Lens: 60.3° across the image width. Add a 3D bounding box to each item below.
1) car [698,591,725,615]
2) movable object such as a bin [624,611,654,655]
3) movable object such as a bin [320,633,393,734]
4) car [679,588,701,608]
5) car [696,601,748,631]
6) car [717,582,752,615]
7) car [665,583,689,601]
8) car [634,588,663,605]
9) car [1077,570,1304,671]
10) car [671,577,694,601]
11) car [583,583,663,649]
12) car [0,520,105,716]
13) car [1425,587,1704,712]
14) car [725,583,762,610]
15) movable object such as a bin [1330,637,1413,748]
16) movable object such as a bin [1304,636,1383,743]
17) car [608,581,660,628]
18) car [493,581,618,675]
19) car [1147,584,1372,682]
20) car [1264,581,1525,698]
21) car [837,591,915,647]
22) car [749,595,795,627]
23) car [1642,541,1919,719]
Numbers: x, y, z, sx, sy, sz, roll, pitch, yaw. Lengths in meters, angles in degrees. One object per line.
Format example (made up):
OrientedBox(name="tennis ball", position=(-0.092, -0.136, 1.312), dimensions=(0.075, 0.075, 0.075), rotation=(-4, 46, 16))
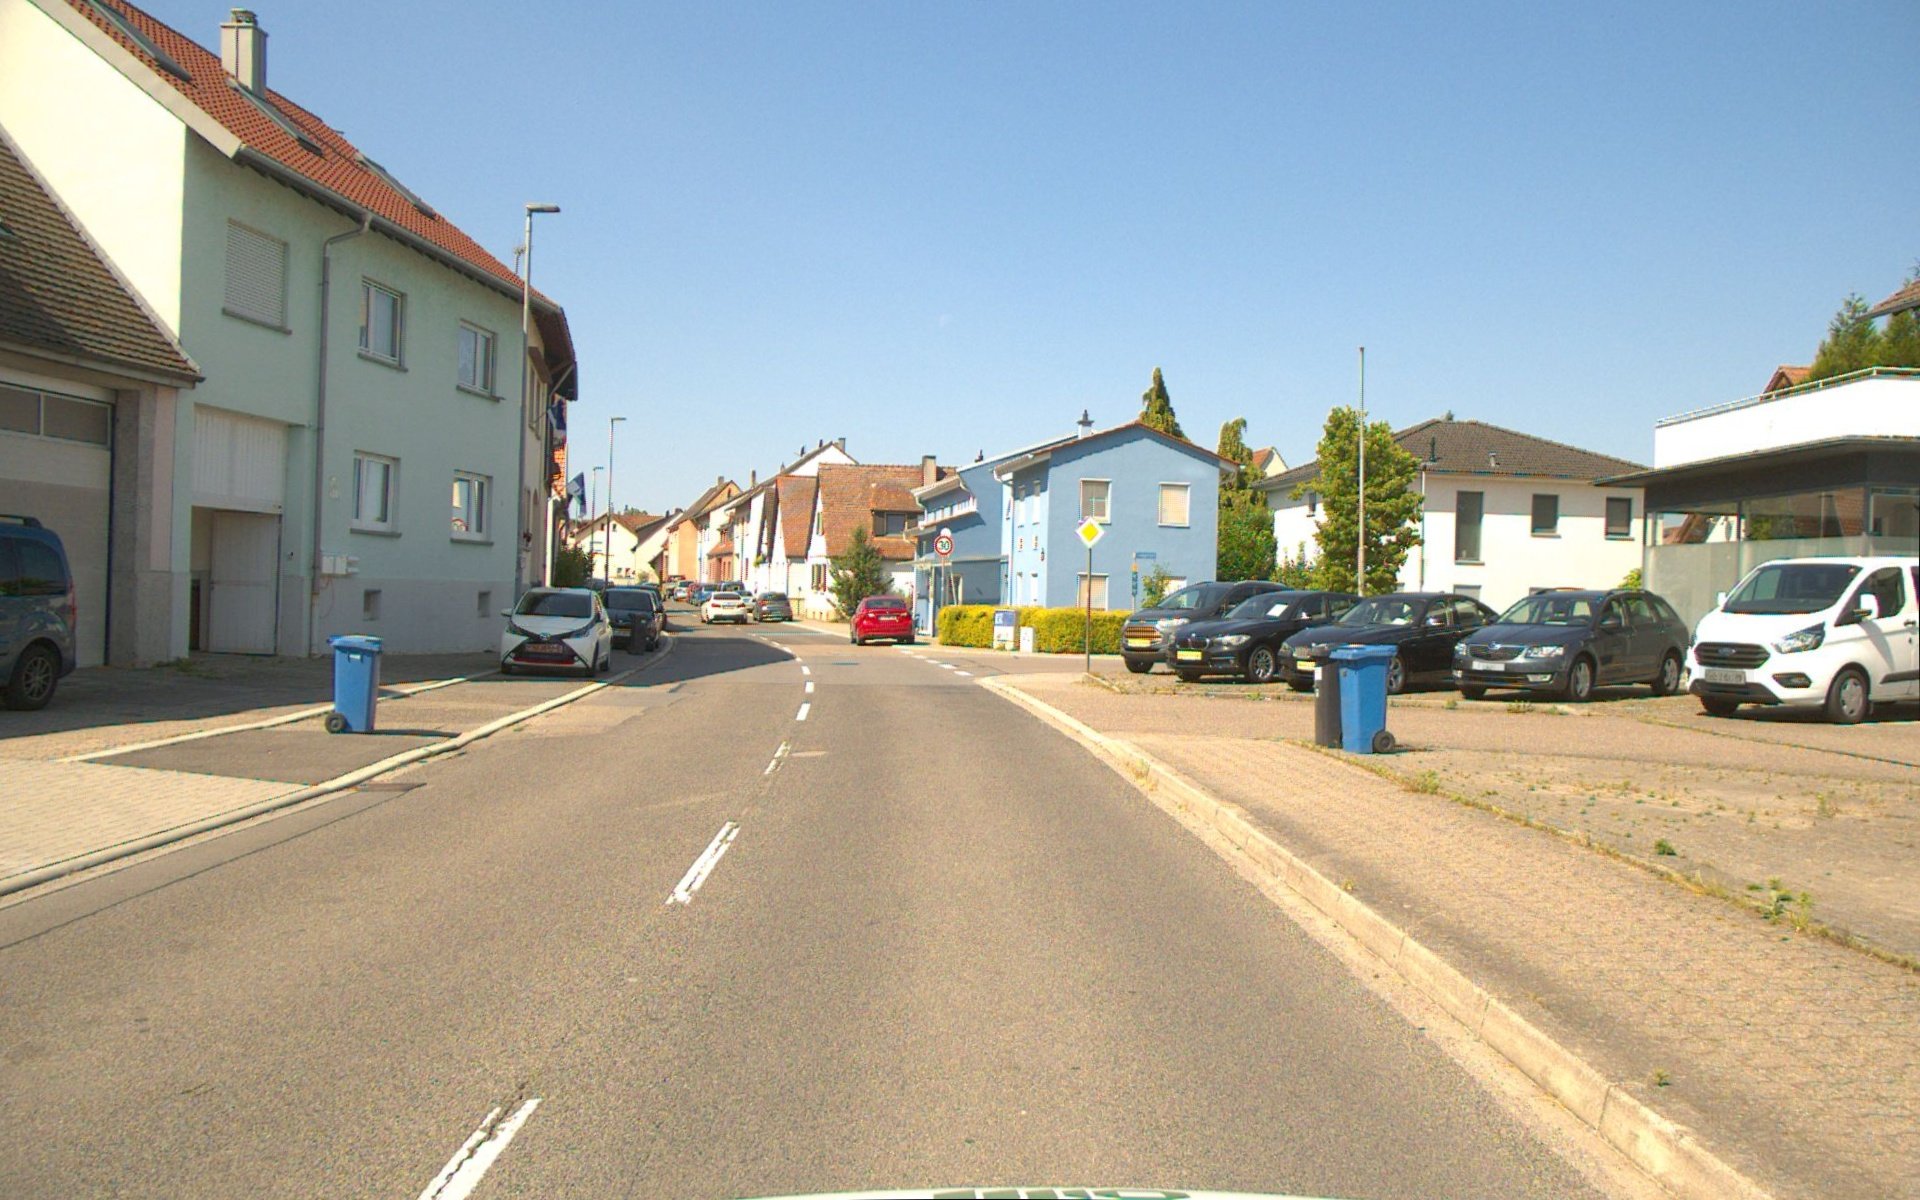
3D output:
OrientedBox(name="car", position=(-17.038, 0.191, 113.368), dimensions=(1.397, 1.541, 3.291), rotation=(2, 0, -15))
OrientedBox(name="movable object such as a bin", position=(-7.386, 0.753, 37.995), dimensions=(0.542, 0.944, 0.822), rotation=(6, -1, -14))
OrientedBox(name="movable object such as a bin", position=(-5.990, 0.822, 16.429), dimensions=(0.547, 0.953, 0.513), rotation=(3, -1, -11))
OrientedBox(name="car", position=(-21.325, -0.158, 130.627), dimensions=(1.397, 1.541, 3.291), rotation=(2, 0, -15))
OrientedBox(name="car", position=(-10.967, 0.729, 76.089), dimensions=(1.960, 1.311, 3.985), rotation=(1, 0, -15))
OrientedBox(name="car", position=(-14.074, -0.117, 103.147), dimensions=(1.622, 1.943, 3.611), rotation=(2, 0, -15))
OrientedBox(name="car", position=(-23.754, -0.695, 138.720), dimensions=(1.737, 1.458, 3.437), rotation=(1, 0, -14))
OrientedBox(name="car", position=(-24.515, -0.279, 130.139), dimensions=(1.960, 1.311, 3.789), rotation=(1, 0, -15))
OrientedBox(name="car", position=(4.170, 0.348, 29.658), dimensions=(4.076, 1.682, 1.804), rotation=(1, 0, -41))
OrientedBox(name="car", position=(-24.185, -0.961, 144.044), dimensions=(1.737, 2.039, 3.437), rotation=(1, 0, -14))
OrientedBox(name="car", position=(-8.378, 0.384, 41.340), dimensions=(1.647, 1.462, 3.987), rotation=(5, -1, -9))
OrientedBox(name="car", position=(-9.922, 0.104, 14.748), dimensions=(1.798, 1.824, 4.346), rotation=(4, 0, 8))
OrientedBox(name="car", position=(8.547, 0.637, 23.218), dimensions=(4.281, 1.578, 1.954), rotation=(1, 0, -43))
OrientedBox(name="car", position=(-12.843, -0.224, 98.109), dimensions=(1.676, 1.523, 3.438), rotation=(2, 0, -15))
OrientedBox(name="movable object such as a bin", position=(3.662, 0.814, 14.736), dimensions=(0.547, 0.955, 0.513), rotation=(1, 0, -11))
OrientedBox(name="movable object such as a bin", position=(3.533, 0.815, 15.244), dimensions=(0.547, 0.953, 0.513), rotation=(1, 0, -11))
OrientedBox(name="car", position=(-13.013, 0.172, 65.990), dimensions=(1.886, 1.697, 4.652), rotation=(4, -1, -12))
OrientedBox(name="car", position=(-7.034, 0.473, 29.065), dimensions=(1.652, 1.487, 3.644), rotation=(2, 0, -7))
OrientedBox(name="car", position=(4.919, 0.502, 26.922), dimensions=(3.844, 1.472, 1.722), rotation=(1, 0, -45))
OrientedBox(name="car", position=(6.595, 0.549, 24.862), dimensions=(4.208, 1.593, 1.952), rotation=(1, 0, -45))
OrientedBox(name="car", position=(-2.622, 0.537, 50.701), dimensions=(1.702, 1.520, 4.341), rotation=(0, 2, -13))
OrientedBox(name="car", position=(-9.282, 0.527, 81.542), dimensions=(1.676, 1.458, 3.874), rotation=(2, 0, -15))
OrientedBox(name="car", position=(11.483, 0.363, 21.250), dimensions=(5.206, 2.049, 2.212), rotation=(1, 0, -27))
